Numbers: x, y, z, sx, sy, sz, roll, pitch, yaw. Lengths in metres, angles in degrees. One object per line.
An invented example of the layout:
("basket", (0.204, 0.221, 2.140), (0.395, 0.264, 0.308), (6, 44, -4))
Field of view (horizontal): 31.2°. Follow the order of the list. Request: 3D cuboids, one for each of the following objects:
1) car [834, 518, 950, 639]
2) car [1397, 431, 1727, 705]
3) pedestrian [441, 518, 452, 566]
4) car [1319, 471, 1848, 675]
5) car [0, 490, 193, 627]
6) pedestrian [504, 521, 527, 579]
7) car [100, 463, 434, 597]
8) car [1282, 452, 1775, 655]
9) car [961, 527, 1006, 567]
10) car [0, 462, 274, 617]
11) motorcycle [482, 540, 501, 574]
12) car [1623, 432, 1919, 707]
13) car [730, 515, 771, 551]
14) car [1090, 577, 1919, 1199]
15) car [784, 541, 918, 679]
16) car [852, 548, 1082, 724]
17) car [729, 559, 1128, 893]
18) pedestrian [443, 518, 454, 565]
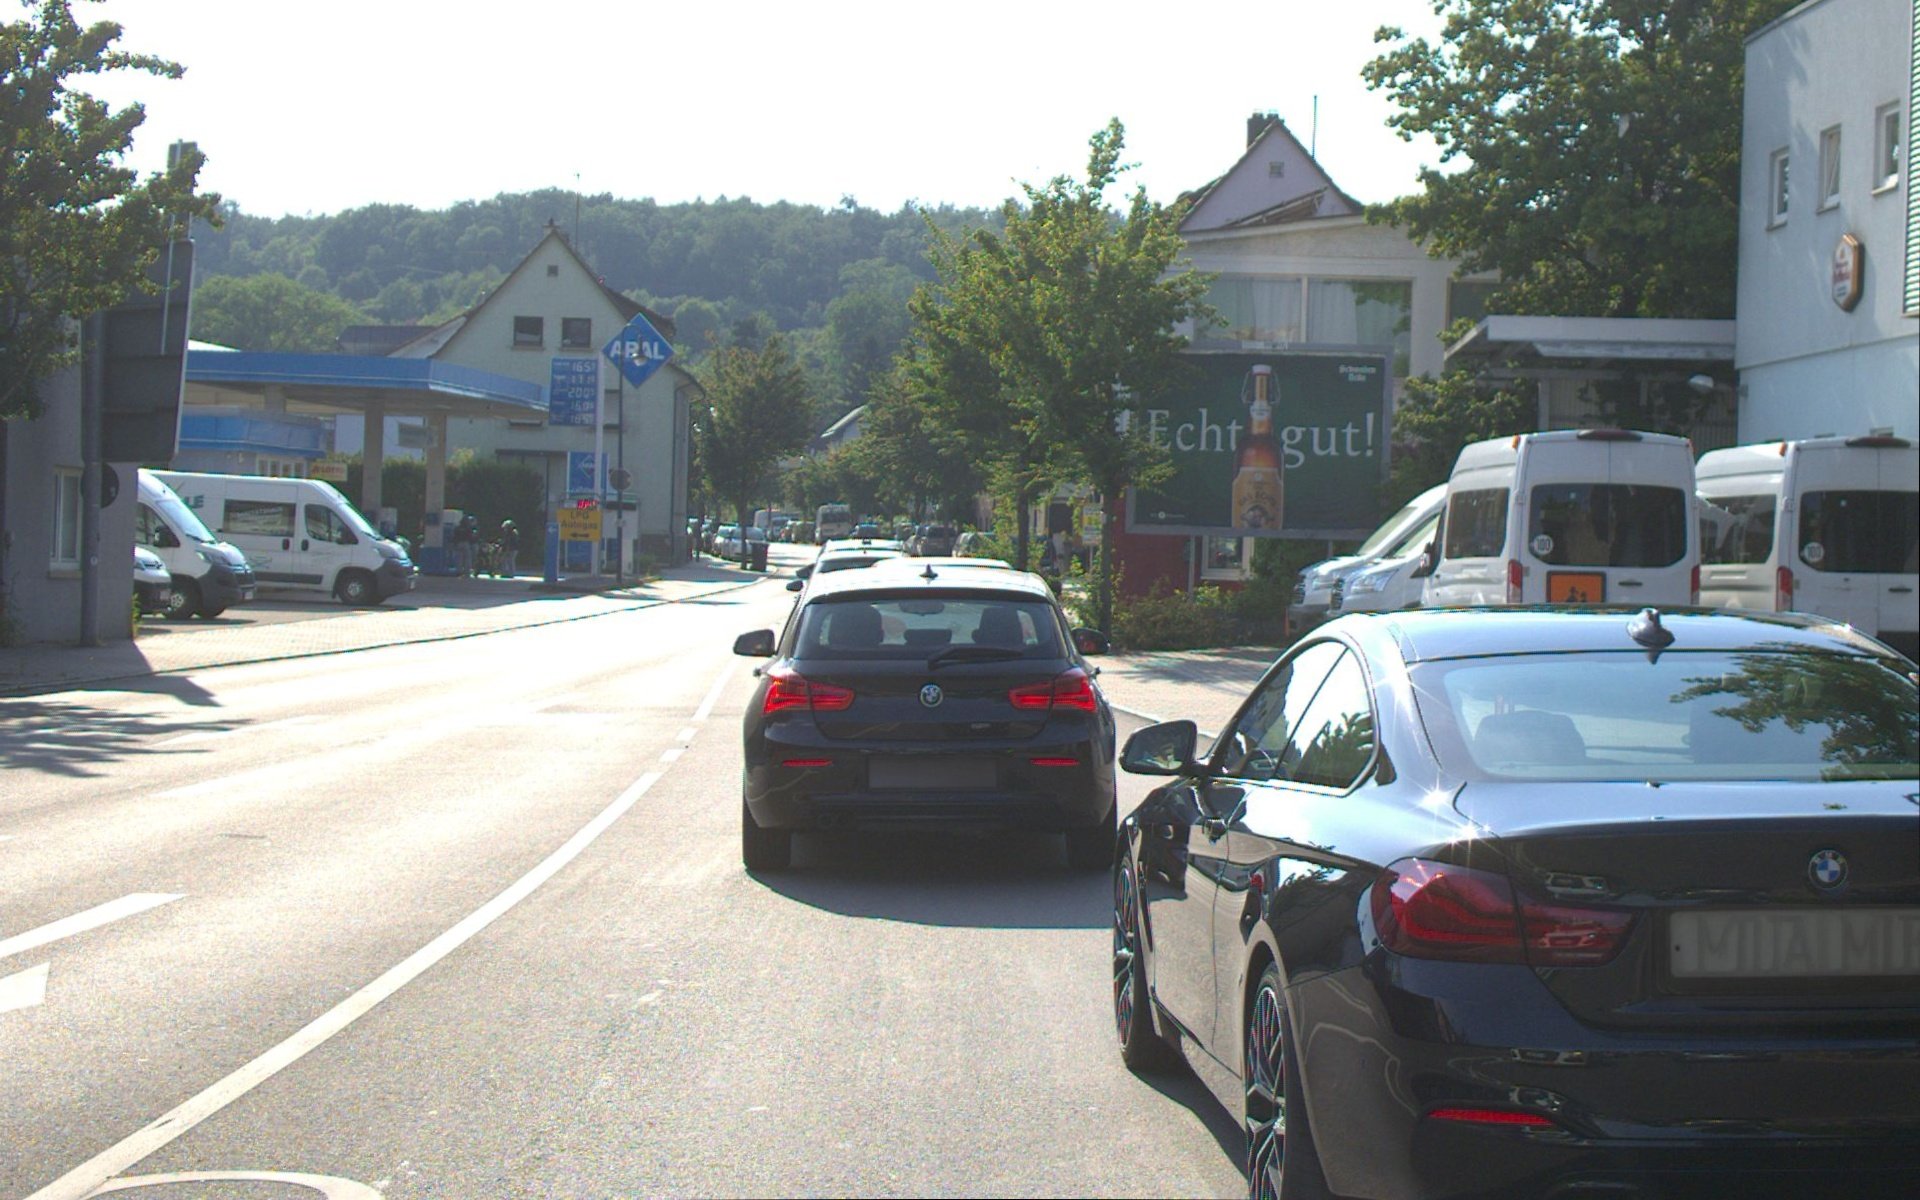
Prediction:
("car", (-1.019, -0.362, 53.047), (1.603, 1.761, 3.411), (1, 1, 2))
("car", (6.375, -0.405, 37.310), (2.149, 2.671, 6.604), (1, 2, -2))
("pedestrian", (-14.715, -1.663, 98.428), (0.262, 1.378, 0.288), (1, 1, -2))
("car", (7.585, -0.345, 42.197), (6.043, 2.355, 2.044), (1, 1, -3))
("car", (-14.536, -0.693, 52.839), (4.976, 1.992, 1.935), (2, 1, 2))
("pedestrian", (-12.857, -1.440, 99.489), (0.610, 1.664, 0.442), (1, 1, -4))
("car", (-13.764, -1.402, 68.537), (6.158, 2.436, 2.249), (2, 1, 0))
("car", (7.396, -0.624, 45.148), (6.043, 2.507, 2.044), (1, 1, -3))
("car", (0.905, -2.075, 134.053), (1.597, 1.480, 3.475), (2, 1, -2))
("car", (-14.964, -1.077, 58.818), (5.920, 2.471, 2.193), (2, 2, 4))
("motorcycle", (-13.500, -1.242, 99.147), (0.363, 0.940, 1.696), (1, 1, -2))
("car", (9.057, -0.387, 37.478), (2.111, 2.712, 6.444), (1, 1, -2))
("car", (-8.934, -2.871, 146.496), (1.597, 1.480, 3.475), (2, 1, -2))
("car", (1.363, 0.675, 8.343), (1.699, 1.364, 4.263), (0, 2, -3))
("car", (-1.381, 0.085, 43.373), (1.591, 1.594, 3.894), (1, 2, -2))
("car", (0.007, 0.275, 30.518), (1.753, 1.409, 3.422), (1, 2, -4))
("car", (-0.125, 0.542, 17.138), (1.771, 1.451, 3.516), (1, 1, 1))
("pedestrian", (-14.591, -1.669, 98.051), (0.287, 1.362, 0.263), (1, 1, -5))
